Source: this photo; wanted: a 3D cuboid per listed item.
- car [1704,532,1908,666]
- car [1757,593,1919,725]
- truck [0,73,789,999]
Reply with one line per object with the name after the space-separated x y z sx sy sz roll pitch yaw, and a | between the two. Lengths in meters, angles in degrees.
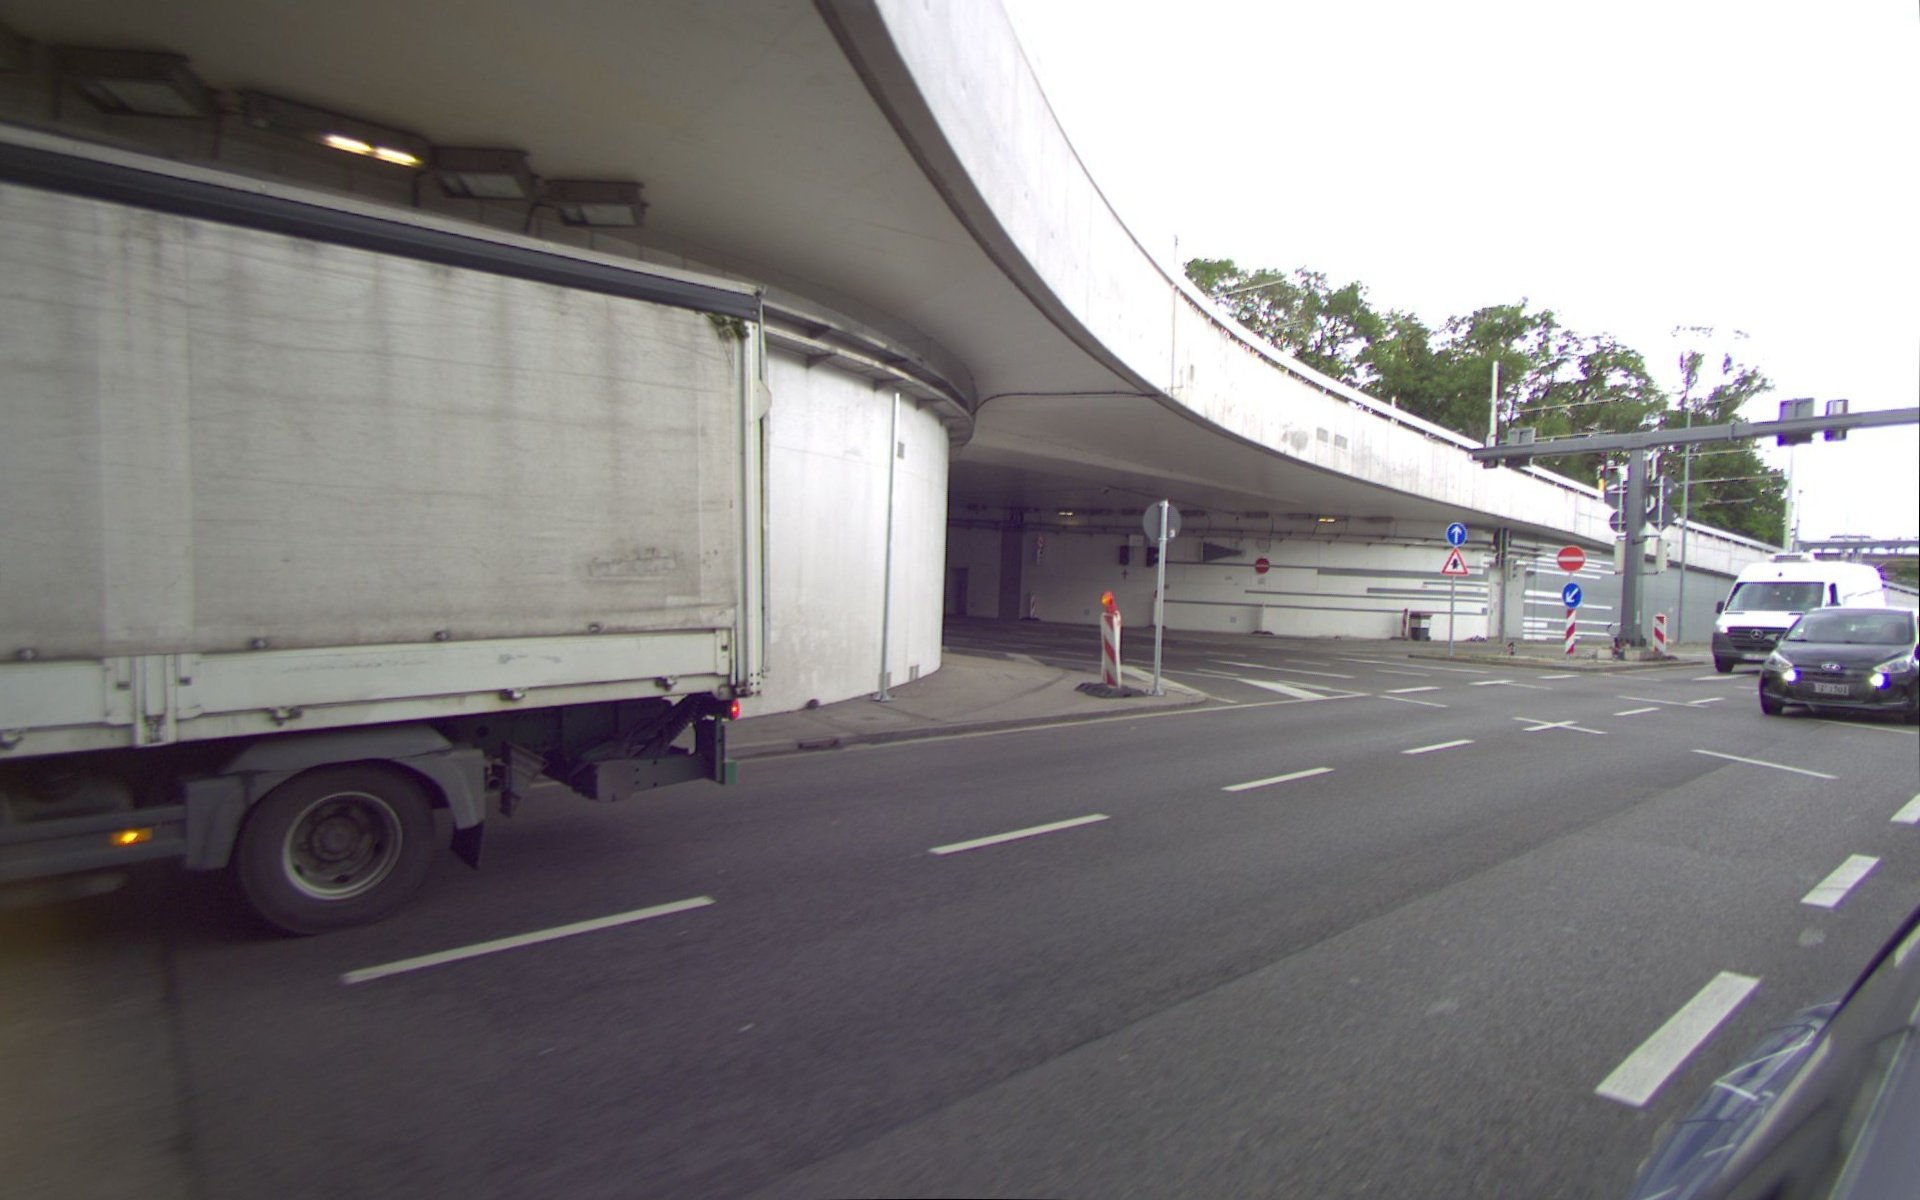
20.316 0.096 24.148 7.187 2.809 2.081 3 -1 -36 | car
12.376 0.717 13.769 3.626 1.564 1.685 1 0 -40 | car
-4.597 -0.257 4.199 7.294 3.225 2.655 2 0 -41 | truck
